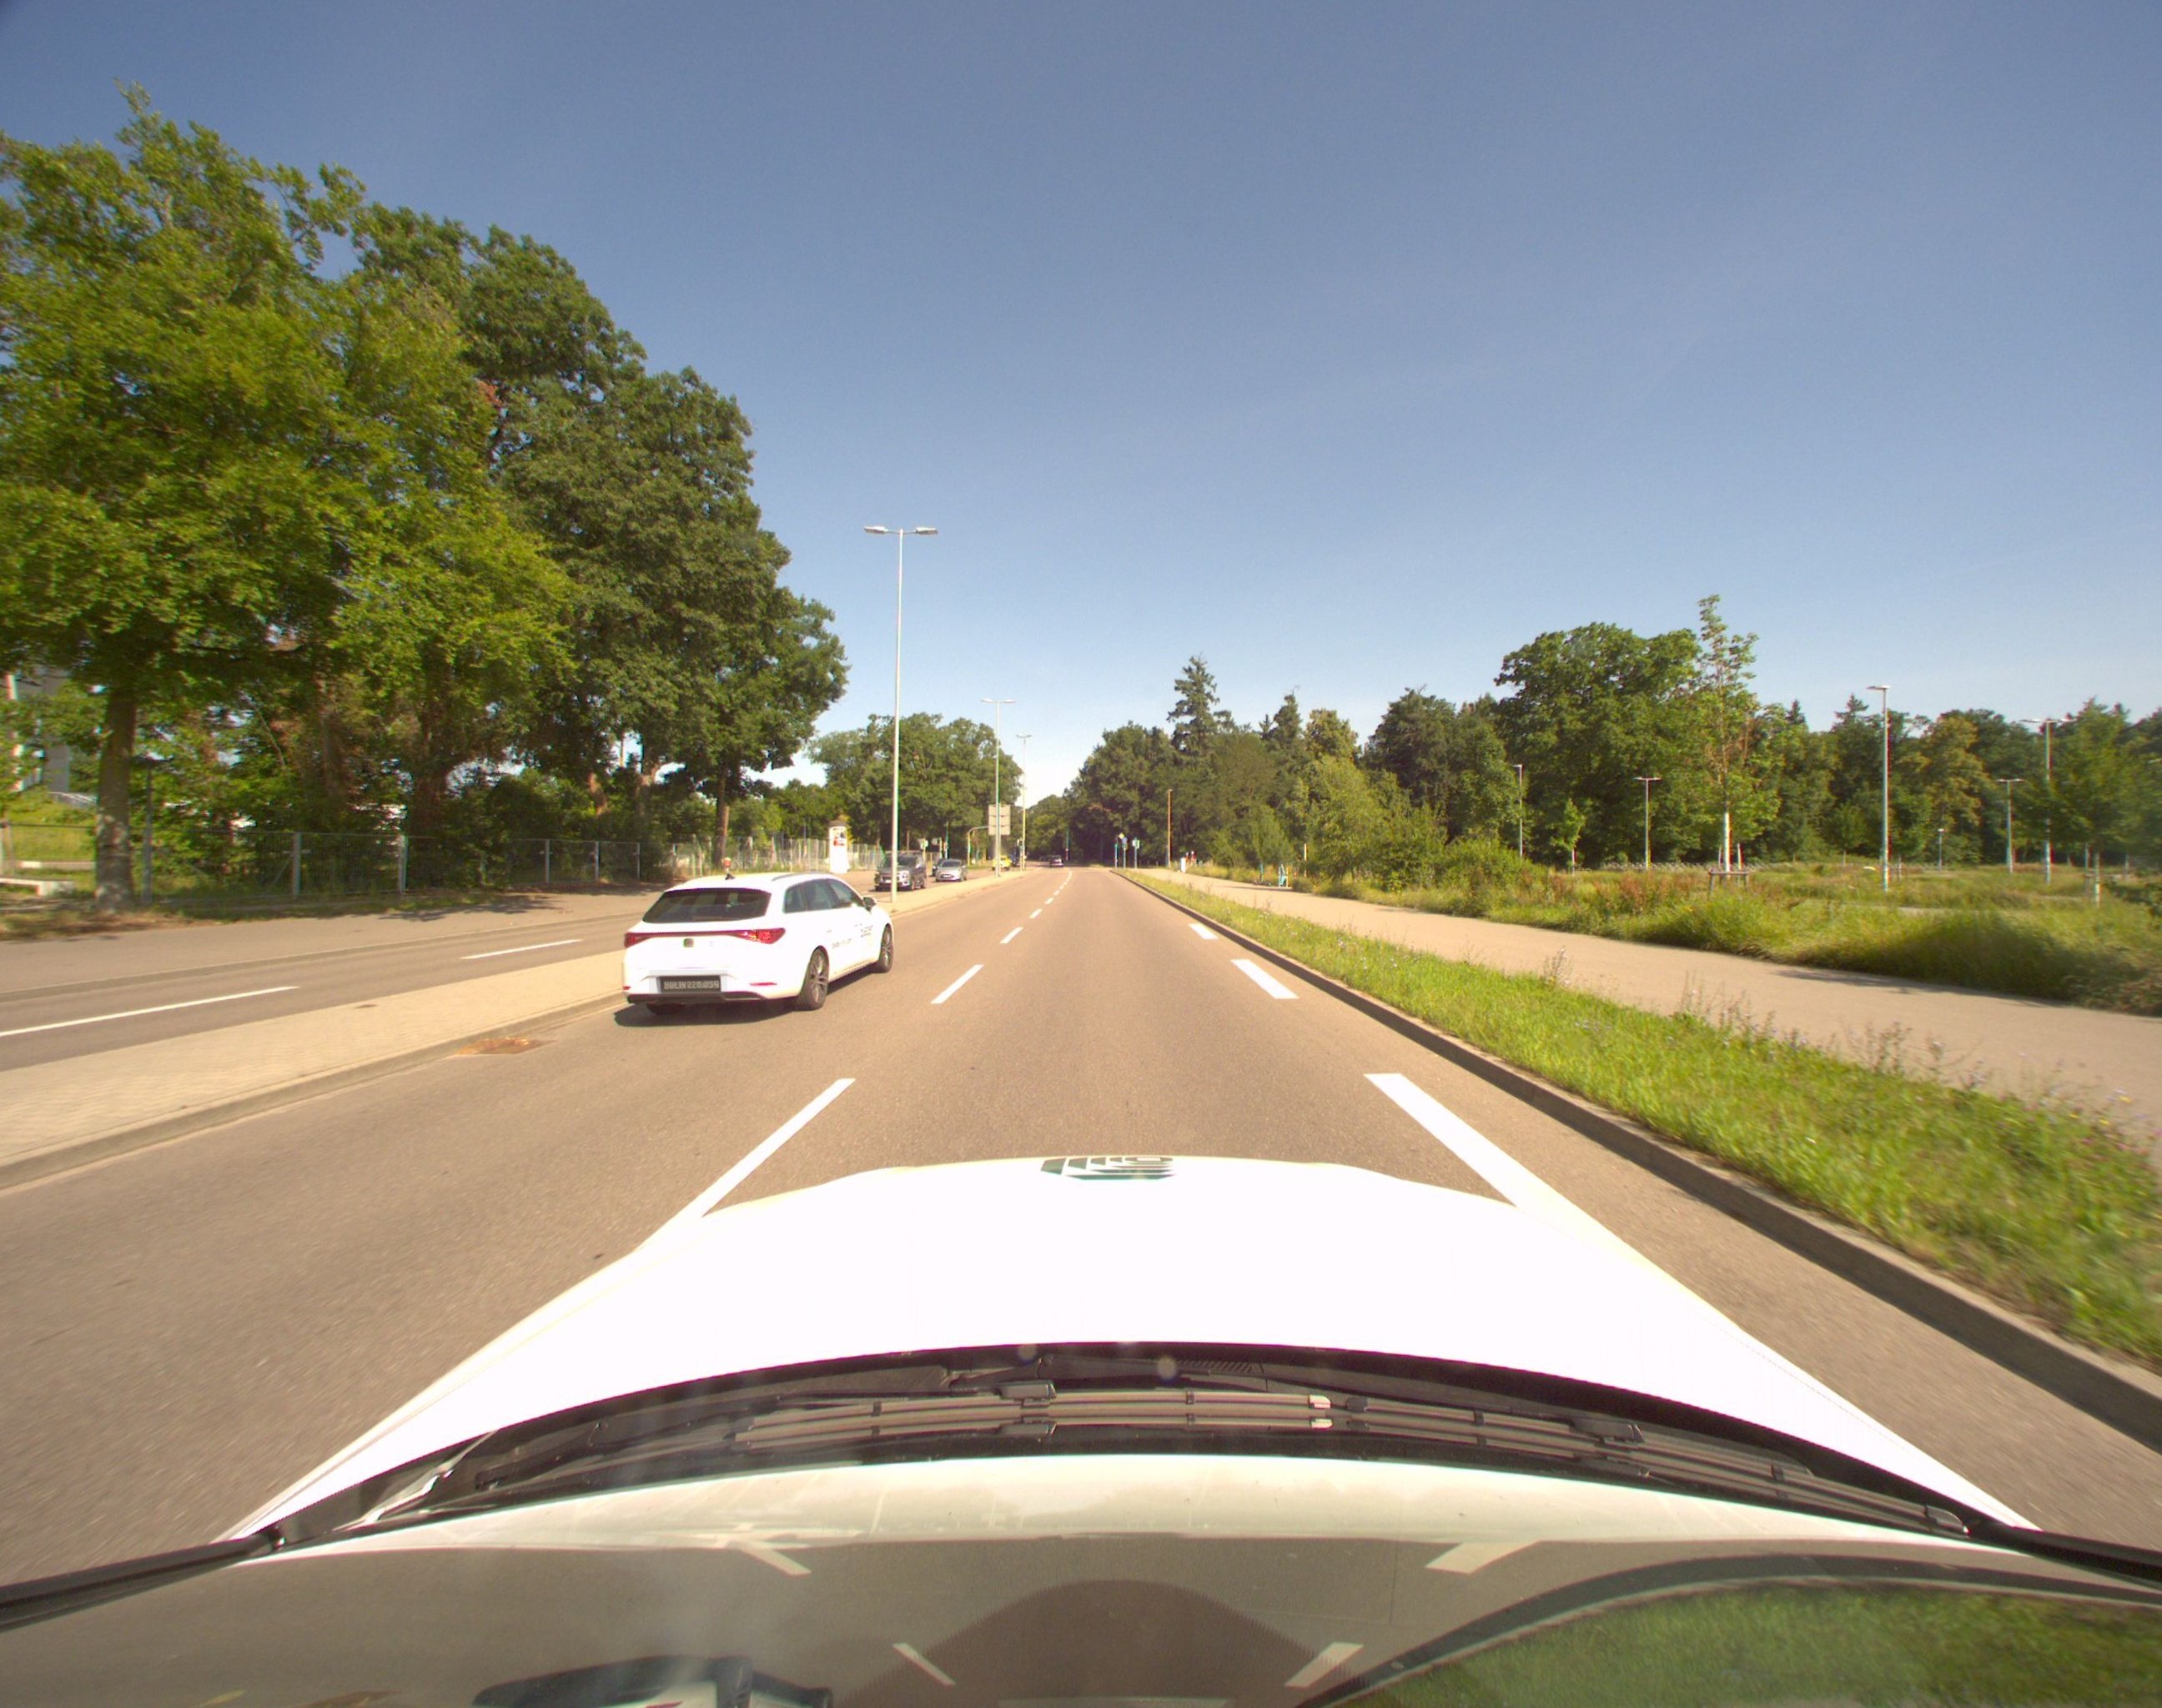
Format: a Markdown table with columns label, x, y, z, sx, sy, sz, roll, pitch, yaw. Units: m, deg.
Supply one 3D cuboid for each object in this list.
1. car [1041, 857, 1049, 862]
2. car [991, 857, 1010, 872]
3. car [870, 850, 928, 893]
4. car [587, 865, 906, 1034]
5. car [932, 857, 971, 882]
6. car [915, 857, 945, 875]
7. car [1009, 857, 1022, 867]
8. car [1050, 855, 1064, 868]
| label | x | y | z | sx | sy | sz | roll | pitch | yaw |
| --- | --- | --- | --- | --- | --- | --- | --- | --- | --- |
| car | -9.337 | 1.401 | 210.181 | 1.936 | 1.420 | 4.288 | 0 | 0 | -3 |
| car | -9.021 | 1.115 | 91.486 | 1.841 | 1.618 | 3.997 | 1 | 0 | -2 |
| car | -8.840 | 0.824 | 39.979 | 1.835 | 1.932 | 4.627 | -1 | 0 | -1 |
| car | -3.543 | 0.899 | 9.739 | 1.719 | 1.427 | 4.722 | -1 | 0 | 2 |
| car | -8.548 | 1.008 | 53.912 | 1.903 | 1.585 | 4.000 | 0 | 0 | 0 |
| car | -12.846 | 1.004 | 69.461 | 1.788 | 1.478 | 3.999 | 0 | 0 | -1 |
| car | -9.668 | 1.120 | 120.280 | 1.815 | 1.464 | 3.997 | 1 | 0 | -2 |
| car | -3.122 | 0.971 | 106.023 | 1.684 | 1.544 | 4.144 | -1 | 0 | -3 |
